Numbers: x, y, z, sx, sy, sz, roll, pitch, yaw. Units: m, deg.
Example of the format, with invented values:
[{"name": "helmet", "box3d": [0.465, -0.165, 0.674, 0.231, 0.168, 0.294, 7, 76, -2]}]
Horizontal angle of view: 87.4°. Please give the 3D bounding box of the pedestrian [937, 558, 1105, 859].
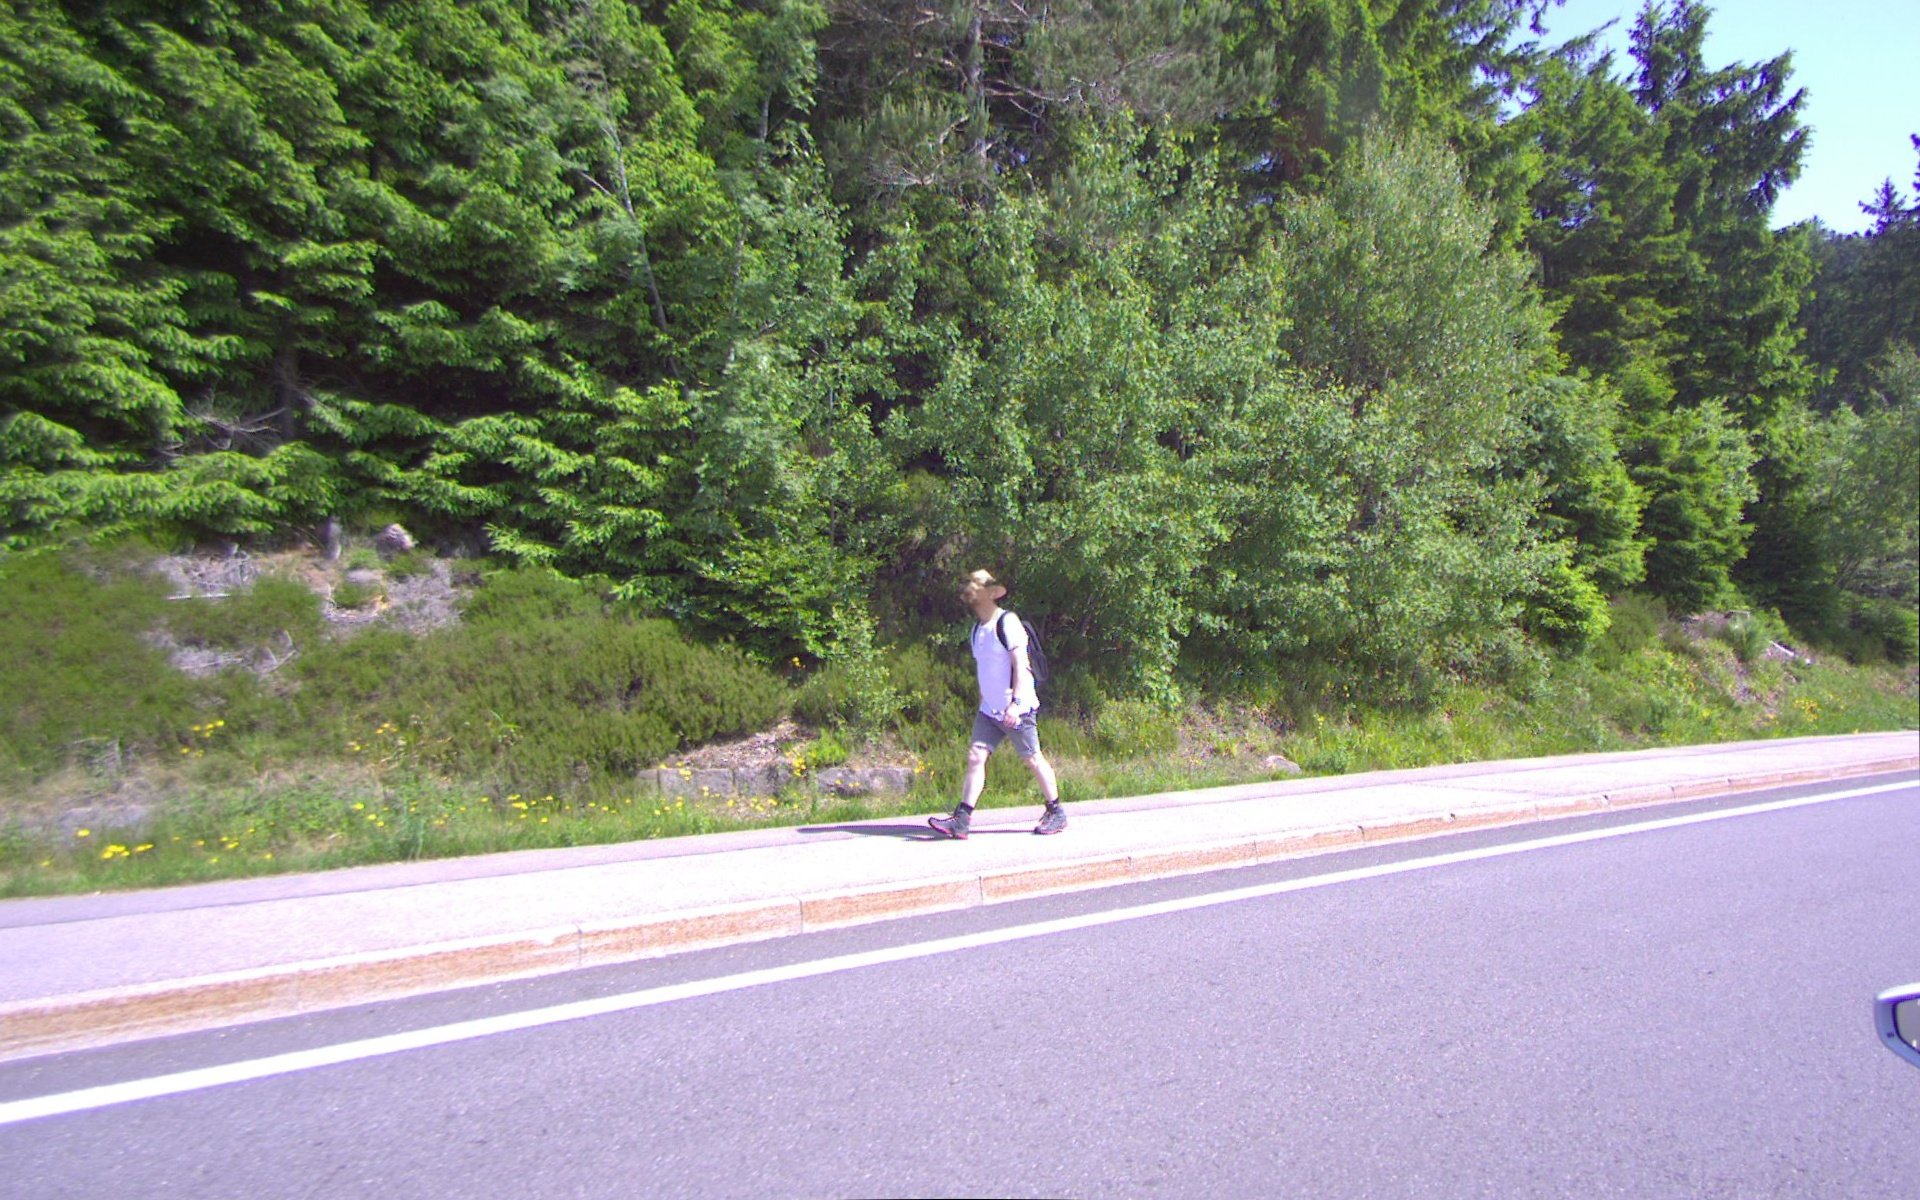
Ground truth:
[{"name": "pedestrian", "box3d": [0.384, 0.648, 6.426, 0.816, 1.769, 0.678, 1, -1, -32]}]
